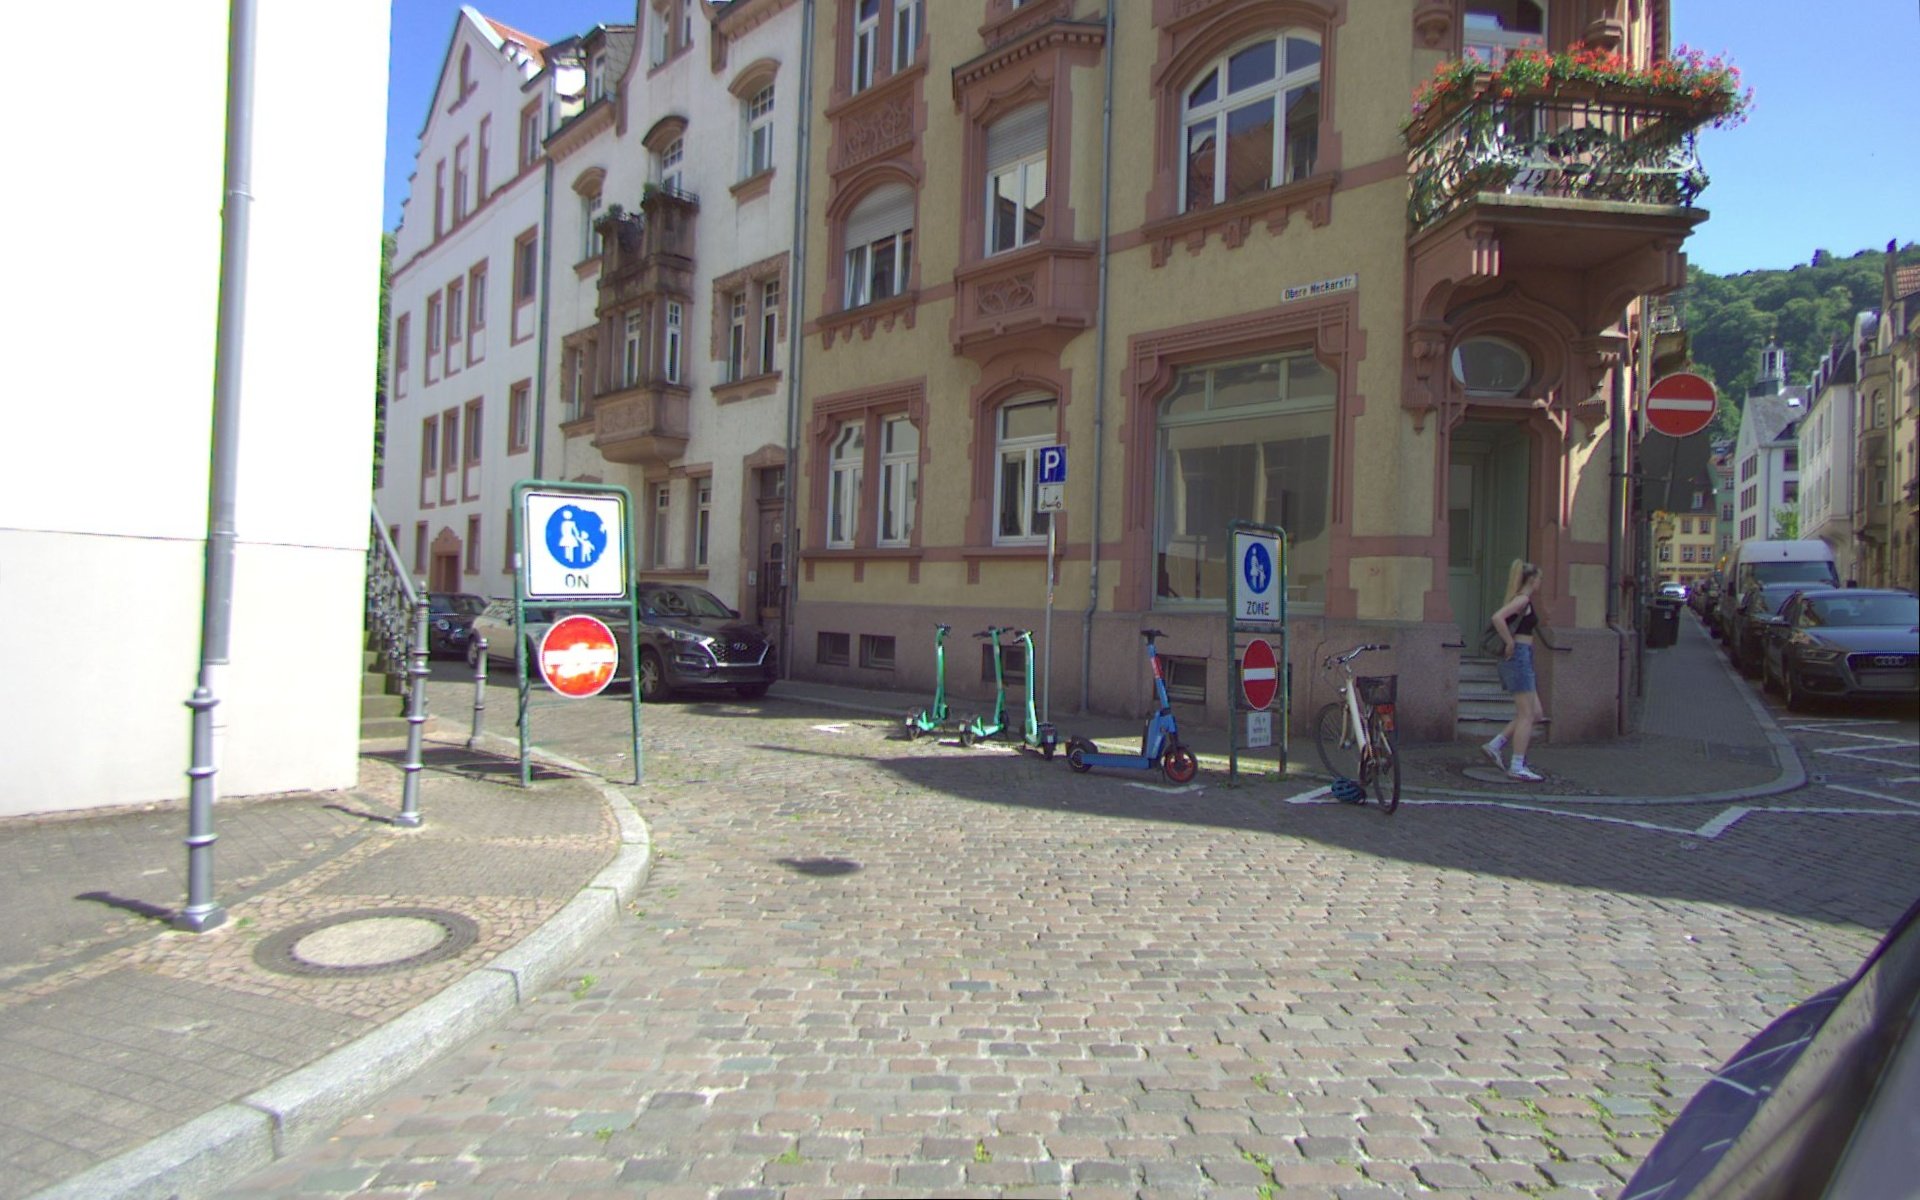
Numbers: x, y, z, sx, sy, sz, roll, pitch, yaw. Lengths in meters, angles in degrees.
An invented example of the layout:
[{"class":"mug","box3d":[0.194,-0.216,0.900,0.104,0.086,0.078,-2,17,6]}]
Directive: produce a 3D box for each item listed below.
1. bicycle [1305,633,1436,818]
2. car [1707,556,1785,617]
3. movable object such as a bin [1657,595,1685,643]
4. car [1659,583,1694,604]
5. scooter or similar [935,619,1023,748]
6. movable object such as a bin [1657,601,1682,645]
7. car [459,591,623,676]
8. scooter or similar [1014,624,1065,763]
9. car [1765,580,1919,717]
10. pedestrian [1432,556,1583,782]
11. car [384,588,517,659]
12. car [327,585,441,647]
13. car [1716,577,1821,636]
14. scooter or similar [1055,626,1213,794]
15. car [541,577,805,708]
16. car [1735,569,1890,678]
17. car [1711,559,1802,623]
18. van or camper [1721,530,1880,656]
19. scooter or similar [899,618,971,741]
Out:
[{"class":"bicycle","box3d":[3.087,0.878,7.754,0.497,1.160,1.789,2,1,9]},{"class":"car","box3d":[29.468,-0.468,38.063,1.986,2.173,3.951,1,0,34]},{"class":"movable object such as a bin","box3d":[16.365,0.435,23.300,0.514,1.103,0.416,1,-1,36]},{"class":"car","box3d":[62.593,-0.536,88.499,1.982,1.683,3.960,1,0,28]},{"class":"scooter or similar","box3d":[0.219,0.823,10.446,0.409,1.224,1.224,1,0,26]},{"class":"movable object such as a bin","box3d":[15.662,0.505,22.343,0.437,0.970,0.345,1,-1,36]},{"class":"car","box3d":[-7.764,0.551,18.649,1.684,1.376,3.326,1,0,-44]},{"class":"scooter or similar","box3d":[0.750,0.856,9.723,0.336,1.224,1.191,1,0,-1]},{"class":"car","box3d":[12.263,0.538,13.634,1.849,1.603,4.208,-1,0,34]},{"class":"pedestrian","box3d":[4.604,0.531,8.524,0.978,1.780,0.613,0,2,45]},{"class":"car","box3d":[-11.212,0.459,22.183,1.684,1.413,3.326,1,0,-44]},{"class":"car","box3d":[-14.371,0.366,25.168,1.684,1.413,3.326,1,0,-44]},{"class":"car","box3d":[23.253,0.193,29.240,1.986,1.545,3.951,1,0,34]},{"class":"scooter or similar","box3d":[1.416,0.860,8.304,1.181,1.251,0.437,1,-1,32]},{"class":"car","box3d":[-4.297,0.512,14.878,3.986,1.663,1.969,1,0,43]},{"class":"car","box3d":[15.108,0.359,18.130,1.750,1.727,3.949,-2,0,35]},{"class":"car","box3d":[25.975,-0.263,33.130,1.986,1.940,3.951,1,0,34]},{"class":"van or camper","box3d":[19.588,-0.249,23.919,2.212,2.551,6.685,2,2,34]},{"class":"scooter or similar","box3d":[-0.252,0.817,10.904,0.338,1.224,1.183,1,0,20]}]
